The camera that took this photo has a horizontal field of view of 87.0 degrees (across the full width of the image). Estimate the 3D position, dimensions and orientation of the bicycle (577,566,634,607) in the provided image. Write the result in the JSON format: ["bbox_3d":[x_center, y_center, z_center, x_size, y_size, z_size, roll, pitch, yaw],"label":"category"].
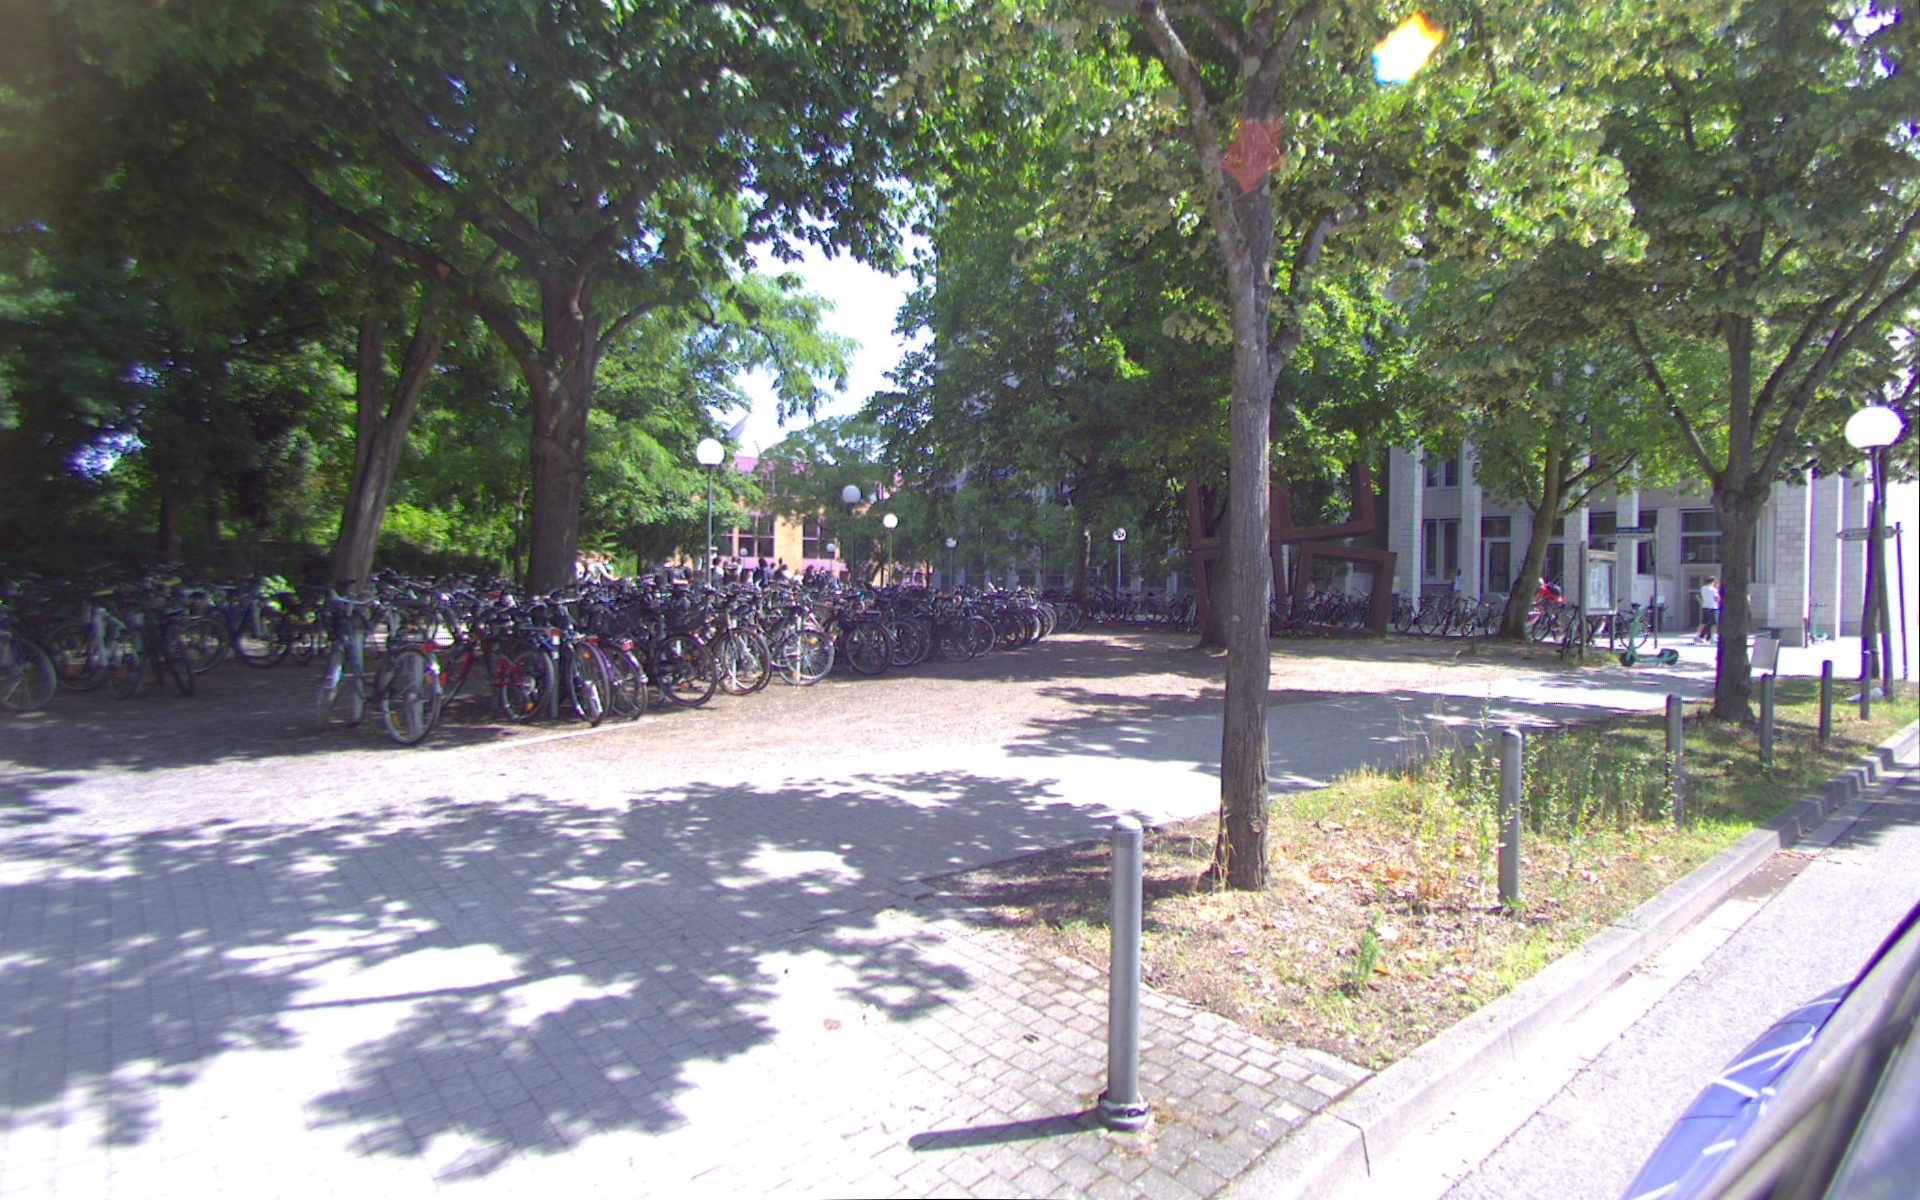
[{"bbox_3d":[-10.094,-0.396,28.793,1.586,1.107,0.347,2,2,12],"label":"bicycle"}]

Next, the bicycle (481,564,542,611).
[{"bbox_3d":[-11.071,-0.327,24.993,1.592,1.107,0.346,2,2,21],"label":"bicycle"}]

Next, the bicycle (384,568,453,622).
[{"bbox_3d":[-11.693,-0.118,21.852,1.592,1.107,0.346,2,2,21],"label":"bicycle"}]

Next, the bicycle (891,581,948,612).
[{"bbox_3d":[-1.371,-0.138,34.545,1.874,0.991,0.477,2,2,12],"label":"bicycle"}]

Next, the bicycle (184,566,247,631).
[{"bbox_3d":[-13.535,-0.051,18.383,1.598,1.107,0.344,3,2,31],"label":"bicycle"}]

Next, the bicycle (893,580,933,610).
[{"bbox_3d":[-1.752,-0.195,37.921,1.441,1.098,0.353,0,-2,-13],"label":"bicycle"}]

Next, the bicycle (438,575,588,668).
[{"bbox_3d":[-5.739,0.235,13.105,0.474,1.096,1.885,2,2,28],"label":"bicycle"}]

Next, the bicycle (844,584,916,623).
[{"bbox_3d":[-2.148,0.088,27.374,1.871,0.991,0.478,2,2,6],"label":"bicycle"}]

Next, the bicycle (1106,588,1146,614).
[{"bbox_3d":[7.481,0.033,45.700,0.561,1.117,1.830,2,-1,-42],"label":"bicycle"}]

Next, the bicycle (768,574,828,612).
[{"bbox_3d":[-4.437,-0.209,27.776,1.571,0.991,0.403,2,2,11],"label":"bicycle"}]

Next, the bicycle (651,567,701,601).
[{"bbox_3d":[-9.593,-0.539,34.233,1.581,1.107,0.348,1,2,1],"label":"bicycle"}]

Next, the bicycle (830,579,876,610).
[{"bbox_3d":[-3.872,-0.193,36.584,1.654,1.098,0.479,0,-2,-8],"label":"bicycle"}]

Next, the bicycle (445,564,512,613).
[{"bbox_3d":[-11.399,-0.290,23.947,1.592,1.107,0.475,2,2,21],"label":"bicycle"}]

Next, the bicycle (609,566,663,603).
[{"bbox_3d":[-9.900,-0.479,30.899,1.586,1.107,0.347,2,2,12],"label":"bicycle"}]

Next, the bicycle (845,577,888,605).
[{"bbox_3d":[-3.717,-0.361,40.209,1.655,1.098,0.479,0,-2,-2],"label":"bicycle"}]

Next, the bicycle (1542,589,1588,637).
[{"bbox_3d":[15.169,0.332,25.371,1.464,1.155,0.560,2,1,-44],"label":"bicycle"}]

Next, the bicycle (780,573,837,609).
[{"bbox_3d":[-4.373,-0.277,29.293,1.571,0.991,0.403,2,2,11],"label":"bicycle"}]

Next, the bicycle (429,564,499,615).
[{"bbox_3d":[-11.376,-0.252,23.219,1.592,1.107,0.475,2,2,21],"label":"bicycle"}]

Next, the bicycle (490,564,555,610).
[{"bbox_3d":[-10.953,-0.335,25.328,1.592,1.107,0.475,2,2,21],"label":"bicycle"}]

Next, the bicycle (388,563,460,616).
[{"bbox_3d":[-11.806,-0.233,22.274,1.592,1.107,0.475,2,2,21],"label":"bicycle"}]

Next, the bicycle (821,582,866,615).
[{"bbox_3d":[-3.901,-0.053,33.911,1.444,1.098,0.352,0,-2,0],"label":"bicycle"}]

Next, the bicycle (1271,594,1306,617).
[{"bbox_3d":[13.013,0.206,40.098,1.743,0.911,0.337,-1,0,-36],"label":"bicycle"}]

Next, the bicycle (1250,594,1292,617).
[{"bbox_3d":[12.533,0.214,40.787,1.739,0.911,0.449,1,0,-22],"label":"bicycle"}]

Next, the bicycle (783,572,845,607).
[{"bbox_3d":[-4.338,-0.308,30.011,1.769,0.991,0.378,1,2,3],"label":"bicycle"}]

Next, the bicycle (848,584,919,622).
[{"bbox_3d":[-2.106,0.075,27.759,1.871,0.991,0.478,2,2,6],"label":"bicycle"}]

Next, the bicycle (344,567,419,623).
[{"bbox_3d":[-12.187,-0.120,21.319,1.592,1.107,0.475,2,2,21],"label":"bicycle"}]

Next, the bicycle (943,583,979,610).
[{"bbox_3d":[0.050,-0.141,43.294,0.527,1.098,1.661,-2,-2,44],"label":"bicycle"}]

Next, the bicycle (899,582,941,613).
[{"bbox_3d":[-1.426,-0.089,35.703,1.442,1.098,0.479,0,-2,-8],"label":"bicycle"}]

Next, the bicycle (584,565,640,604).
[{"bbox_3d":[-10.273,-0.459,29.867,1.586,1.107,0.347,2,2,12],"label":"bicycle"}]

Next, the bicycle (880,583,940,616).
[{"bbox_3d":[-1.576,-0.022,31.902,1.868,0.991,0.479,1,2,0],"label":"bicycle"}]

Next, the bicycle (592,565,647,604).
[{"bbox_3d":[-10.168,-0.461,30.224,1.586,1.107,0.347,2,2,12],"label":"bicycle"}]

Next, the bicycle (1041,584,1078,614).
[{"bbox_3d":[3.799,-0.017,38.672,0.477,1.098,1.661,-2,-2,44],"label":"bicycle"}]

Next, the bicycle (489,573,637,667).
[{"bbox_3d":[-4.984,0.215,12.830,0.474,1.096,1.885,2,2,28],"label":"bicycle"}]

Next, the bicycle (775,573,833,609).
[{"bbox_3d":[-4.446,-0.265,28.895,1.571,0.991,0.403,2,2,11],"label":"bicycle"}]

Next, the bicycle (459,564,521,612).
[{"bbox_3d":[-11.285,-0.300,24.279,1.592,1.107,0.346,2,2,21],"label":"bicycle"}]

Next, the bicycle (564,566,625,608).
[{"bbox_3d":[-10.116,-0.357,27.996,1.586,1.107,0.477,2,2,12],"label":"bicycle"}]

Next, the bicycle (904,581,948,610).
[{"bbox_3d":[-1.315,-0.166,39.062,1.653,1.098,0.479,0,-2,-9],"label":"bicycle"}]

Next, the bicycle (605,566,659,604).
[{"bbox_3d":[-9.933,-0.470,30.658,1.586,1.107,0.335,2,2,12],"label":"bicycle"}]

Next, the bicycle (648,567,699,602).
[{"bbox_3d":[-9.593,-0.522,33.886,1.581,1.107,0.348,1,2,1],"label":"bicycle"}]

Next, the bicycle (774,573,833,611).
[{"bbox_3d":[-4.361,-0.224,28.178,1.571,0.991,0.403,2,2,11],"label":"bicycle"}]

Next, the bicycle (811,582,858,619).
[{"bbox_3d":[-3.877,0.016,31.247,1.442,1.098,0.353,0,-2,-6],"label":"bicycle"}]

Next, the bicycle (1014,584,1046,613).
[{"bbox_3d":[2.761,-0.064,39.721,0.475,1.098,1.666,-1,-2,35],"label":"bicycle"}]

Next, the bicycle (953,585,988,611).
[{"bbox_3d":[0.448,-0.075,42.939,0.527,1.098,1.661,-2,-2,44],"label":"bicycle"}]

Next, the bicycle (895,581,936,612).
[{"bbox_3d":[-1.619,-0.124,36.843,1.451,1.098,0.451,-1,-2,15],"label":"bicycle"}]

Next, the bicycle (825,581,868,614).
[{"bbox_3d":[-3.872,-0.082,34.529,1.441,1.098,0.353,0,-2,-14],"label":"bicycle"}]

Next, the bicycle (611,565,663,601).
[{"bbox_3d":[-10.174,-0.541,31.840,1.586,1.107,0.347,2,2,12],"label":"bicycle"}]

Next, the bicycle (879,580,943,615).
[{"bbox_3d":[-1.496,-0.089,30.962,1.870,0.991,0.478,2,2,5],"label":"bicycle"}]

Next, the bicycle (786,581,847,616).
[{"bbox_3d":[-4.316,-0.058,30.396,1.769,0.991,0.378,1,2,3],"label":"bicycle"}]

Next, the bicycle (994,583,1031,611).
[{"bbox_3d":[2.090,-0.114,40.209,0.477,1.098,1.661,-2,-2,44],"label":"bicycle"}]

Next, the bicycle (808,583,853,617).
[{"bbox_3d":[-4.162,0.000,32.551,1.442,1.098,0.353,0,-2,-7],"label":"bicycle"}]

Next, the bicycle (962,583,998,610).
[{"bbox_3d":[0.820,-0.133,41.567,0.477,1.098,1.661,-2,-2,44],"label":"bicycle"}]

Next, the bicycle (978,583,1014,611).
[{"bbox_3d":[1.449,-0.093,40.919,0.477,1.098,1.661,-2,-2,44],"label":"bicycle"}]

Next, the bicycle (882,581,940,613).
[{"bbox_3d":[-1.623,-0.097,33.367,1.868,0.991,0.479,1,2,0],"label":"bicycle"}]

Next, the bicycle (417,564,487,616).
[{"bbox_3d":[-11.486,-0.242,22.886,1.592,1.107,0.475,2,2,21],"label":"bicycle"}]

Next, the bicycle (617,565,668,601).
[{"bbox_3d":[-10.105,-0.555,32.187,1.586,1.107,0.347,2,2,12],"label":"bicycle"}]

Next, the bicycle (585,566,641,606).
[{"bbox_3d":[-9.998,-0.408,29.165,1.586,1.107,0.347,2,2,12],"label":"bicycle"}]
